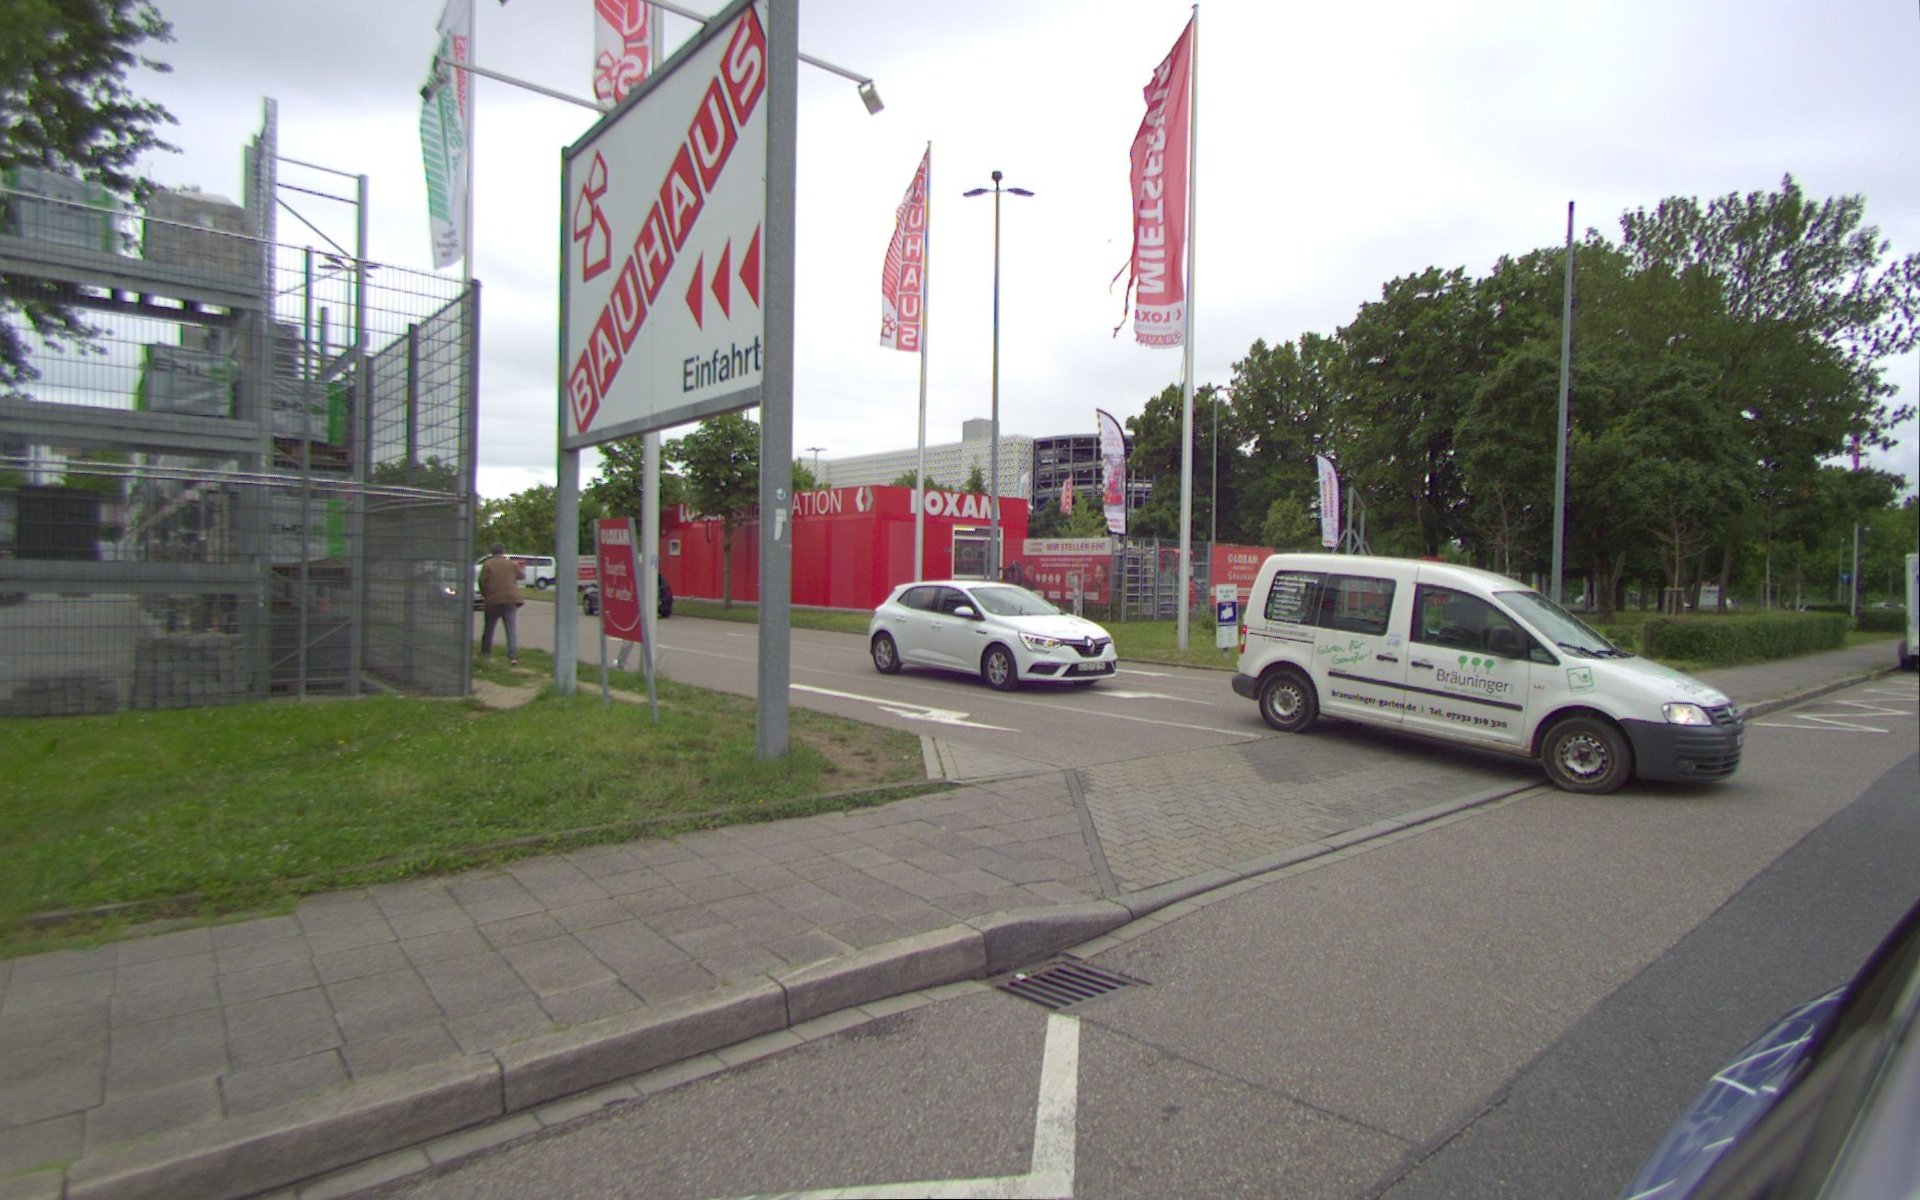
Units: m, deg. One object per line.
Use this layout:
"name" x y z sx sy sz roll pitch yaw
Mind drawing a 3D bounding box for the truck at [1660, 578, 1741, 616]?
"truck" 50.040 -0.221 68.467 3.924 2.426 2.001 1 1 0

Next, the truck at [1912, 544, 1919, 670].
"truck" 22.166 0.118 21.876 3.930 2.646 1.851 0 -2 -41

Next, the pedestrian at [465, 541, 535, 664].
"pedestrian" -6.489 0.013 14.263 0.686 1.669 0.825 0 1 -40

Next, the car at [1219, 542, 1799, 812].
"car" 4.846 0.460 9.507 1.769 1.829 4.379 0 4 -41

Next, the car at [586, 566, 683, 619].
"car" -10.184 -0.270 31.532 1.692 1.480 3.568 -1 3 -40

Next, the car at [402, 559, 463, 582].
"car" -36.090 -2.014 69.281 3.423 1.544 1.639 -1 0 -39

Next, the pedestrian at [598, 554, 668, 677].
"pedestrian" -4.882 0.214 15.101 0.727 1.765 0.870 1 1 -37

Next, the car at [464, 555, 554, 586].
"car" -26.511 -1.715 59.612 1.931 1.729 4.471 0 1 45

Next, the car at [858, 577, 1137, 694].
"car" 0.410 0.407 14.704 1.701 1.438 4.109 0 1 -41
